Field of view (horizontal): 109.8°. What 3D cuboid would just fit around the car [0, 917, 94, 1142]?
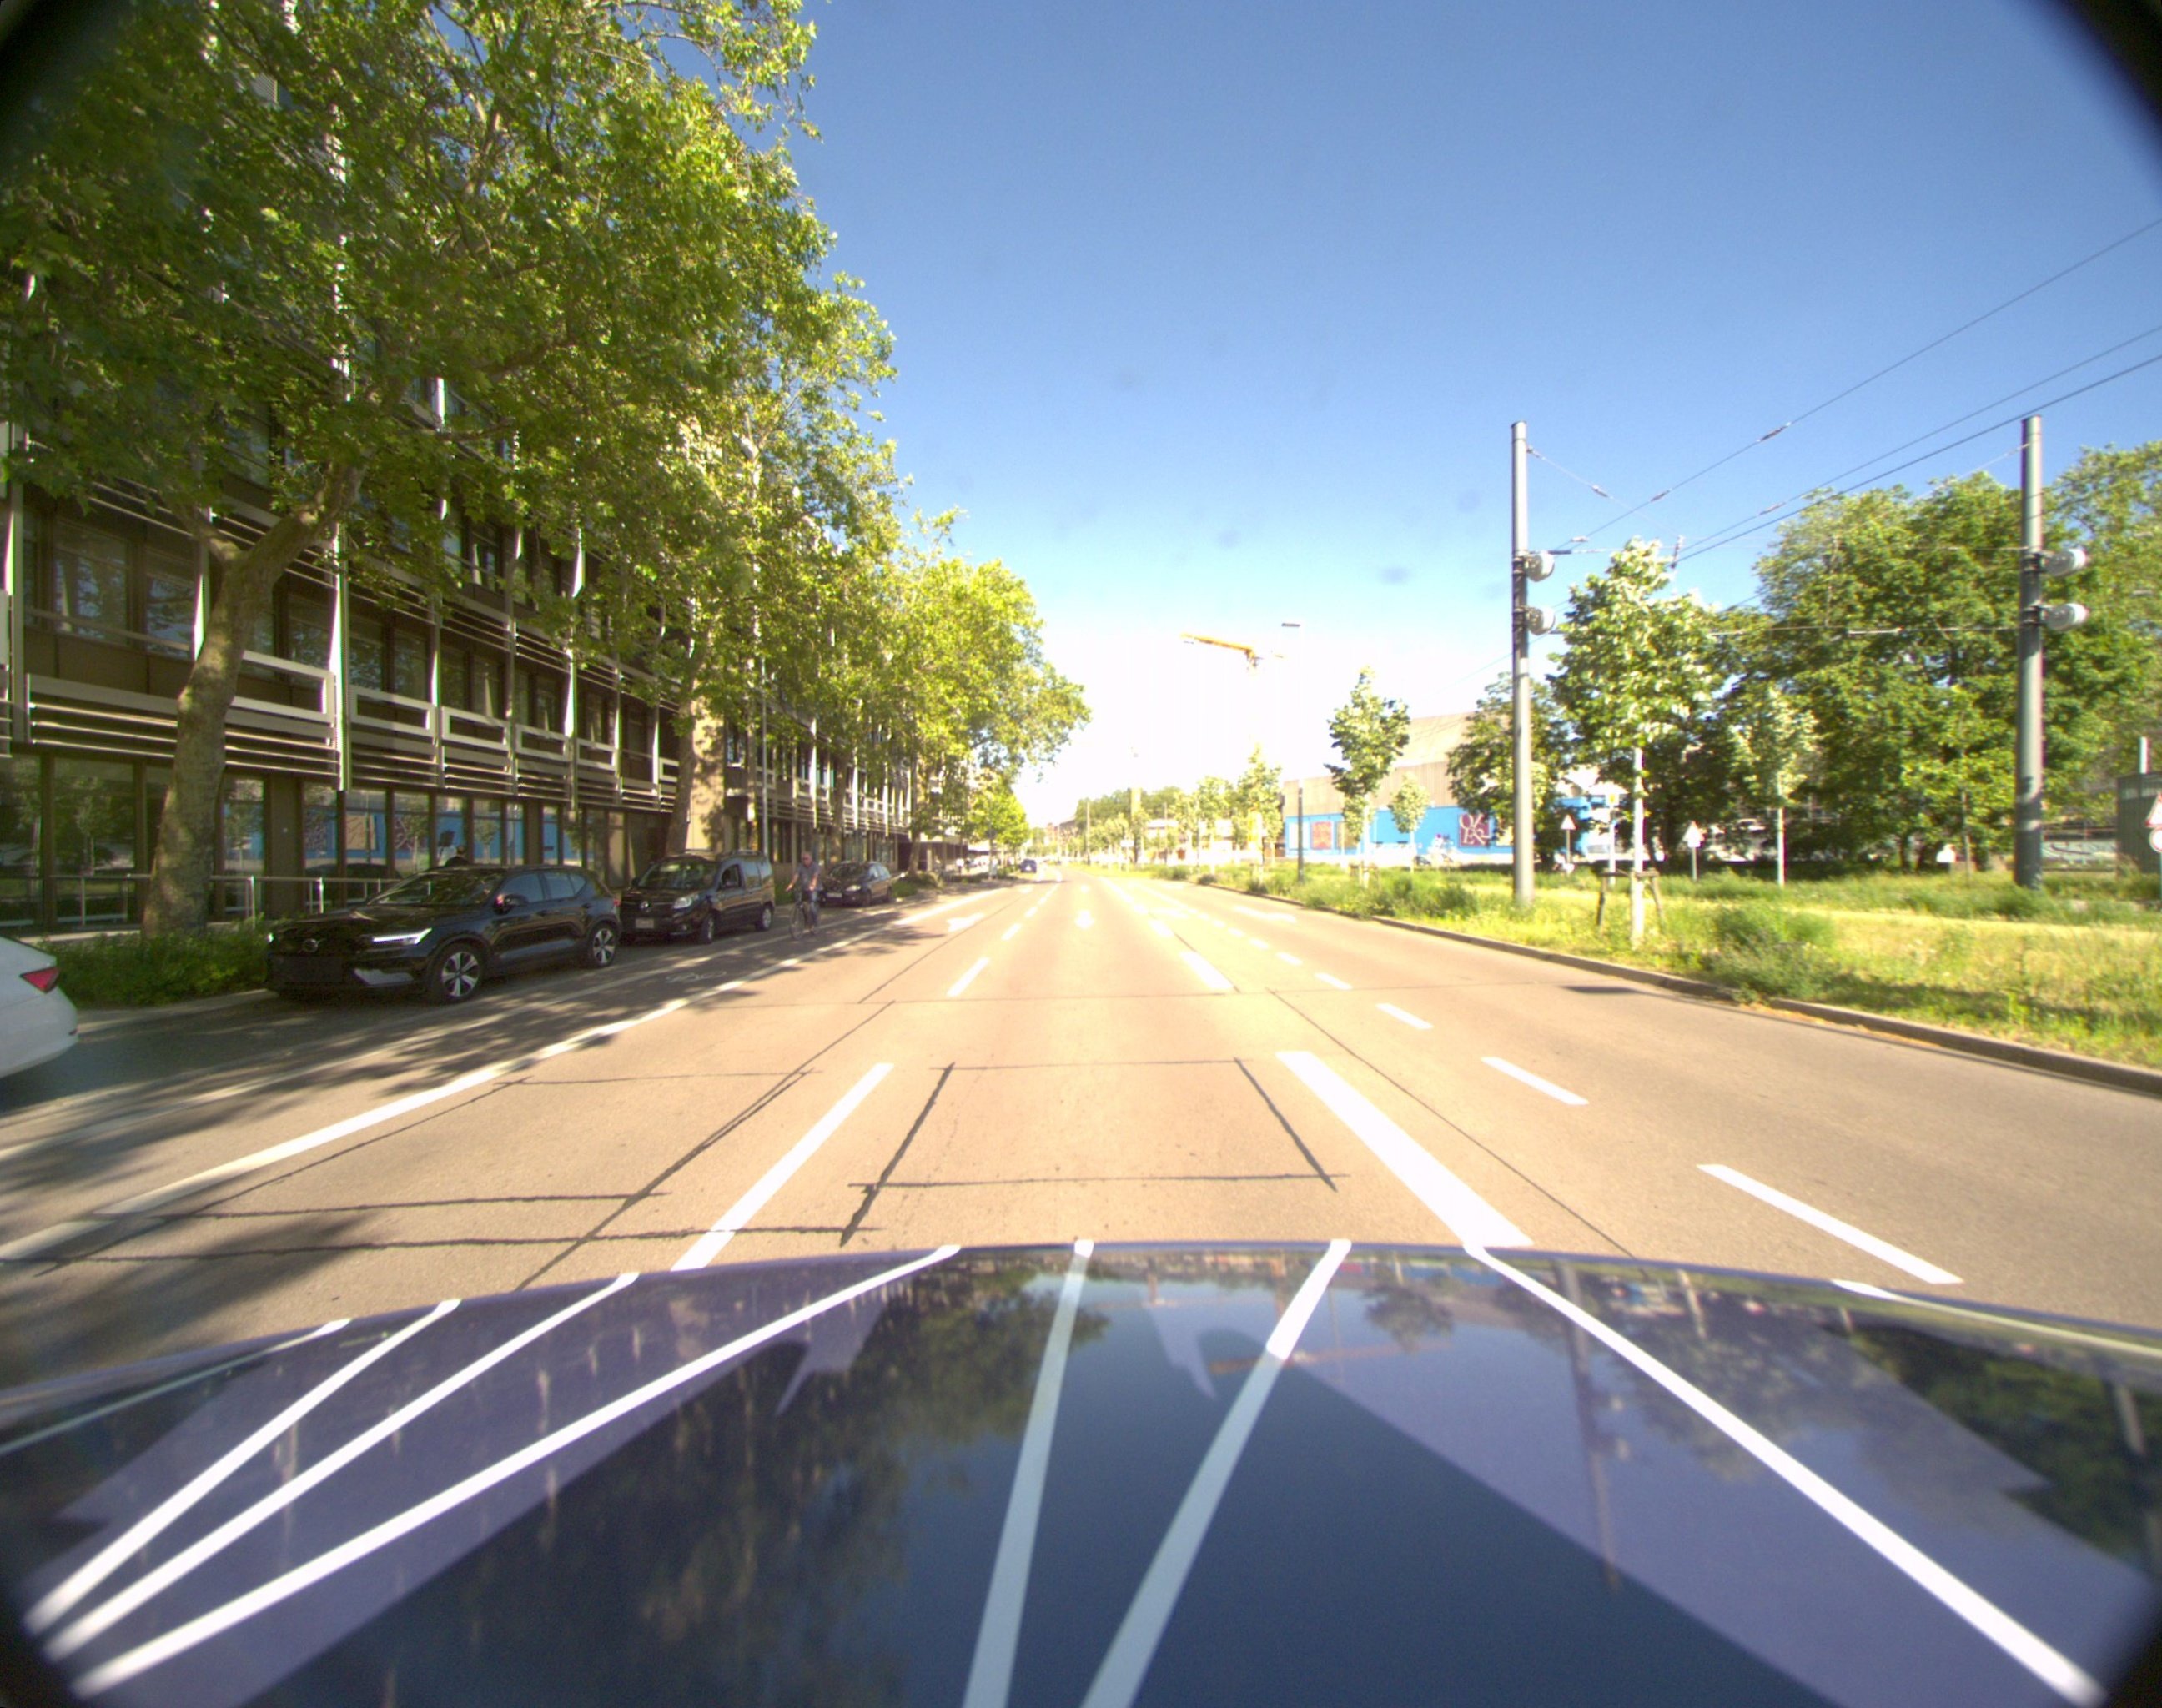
[{"bbox_3d":[-8.224,1.199,3.365,1.752,1.481,4.560,1,0,0],"label":"car"}]

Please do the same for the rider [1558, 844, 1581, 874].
[{"bbox_3d":[24.336,0.251,37.891,0.724,1.513,0.631,-1,0,-2],"label":"rider"}]

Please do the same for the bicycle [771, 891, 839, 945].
[{"bbox_3d":[-5.792,1.311,16.059,0.711,0.987,1.924,-3,-1,-1],"label":"bicycle"}]

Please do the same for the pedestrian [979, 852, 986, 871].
[{"bbox_3d":[-9.656,0.764,74.280,0.591,1.830,0.569,-1,0,0],"label":"pedestrian"}]

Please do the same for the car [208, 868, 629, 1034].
[{"bbox_3d":[-8.164,1.050,10.046,1.752,1.624,4.337,1,0,0],"label":"car"}]

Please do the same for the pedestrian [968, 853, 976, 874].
[{"bbox_3d":[-9.732,0.837,68.010,0.591,1.830,0.696,-1,0,0],"label":"pedestrian"}]

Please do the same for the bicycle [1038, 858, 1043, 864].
[{"bbox_3d":[-7.174,1.219,135.212,0.845,1.123,2.552,-1,0,-5],"label":"bicycle"}]

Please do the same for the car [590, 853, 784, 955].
[{"bbox_3d":[-7.921,0.910,15.812,1.752,1.810,4.337,1,0,0],"label":"car"}]

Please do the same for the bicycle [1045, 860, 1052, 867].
[{"bbox_3d":[-4.893,1.420,114.015,0.845,1.123,2.553,-1,0,1],"label":"bicycle"}]

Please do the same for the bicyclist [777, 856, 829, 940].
[{"bbox_3d":[-5.808,0.907,15.916,0.711,1.677,0.852,-3,0,-1],"label":"bicyclist"}]

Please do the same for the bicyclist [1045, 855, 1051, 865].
[{"bbox_3d":[-4.892,0.898,114.014,0.830,1.380,0.904,-1,0,1],"label":"bicyclist"}]

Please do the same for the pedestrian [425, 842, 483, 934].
[{"bbox_3d":[-14.080,0.752,17.075,0.741,2.002,0.626,-1,0,1],"label":"pedestrian"}]

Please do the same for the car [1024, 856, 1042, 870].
[{"bbox_3d":[-5.684,1.088,90.245,1.999,1.597,3.896,-1,0,-1],"label":"car"}]

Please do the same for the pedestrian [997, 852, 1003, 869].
[{"bbox_3d":[-8.488,0.660,79.551,0.591,1.830,0.569,-1,0,0],"label":"pedestrian"}]

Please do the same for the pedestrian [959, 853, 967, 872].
[{"bbox_3d":[-11.503,0.836,74.207,0.591,1.830,0.697,-1,0,0],"label":"pedestrian"}]

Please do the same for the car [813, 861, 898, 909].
[{"bbox_3d":[-7.961,1.035,27.220,1.752,1.545,4.337,1,0,0],"label":"car"}]

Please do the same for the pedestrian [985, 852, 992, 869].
[{"bbox_3d":[-10.015,0.691,82.122,0.591,1.830,0.569,-1,0,0],"label":"pedestrian"}]
